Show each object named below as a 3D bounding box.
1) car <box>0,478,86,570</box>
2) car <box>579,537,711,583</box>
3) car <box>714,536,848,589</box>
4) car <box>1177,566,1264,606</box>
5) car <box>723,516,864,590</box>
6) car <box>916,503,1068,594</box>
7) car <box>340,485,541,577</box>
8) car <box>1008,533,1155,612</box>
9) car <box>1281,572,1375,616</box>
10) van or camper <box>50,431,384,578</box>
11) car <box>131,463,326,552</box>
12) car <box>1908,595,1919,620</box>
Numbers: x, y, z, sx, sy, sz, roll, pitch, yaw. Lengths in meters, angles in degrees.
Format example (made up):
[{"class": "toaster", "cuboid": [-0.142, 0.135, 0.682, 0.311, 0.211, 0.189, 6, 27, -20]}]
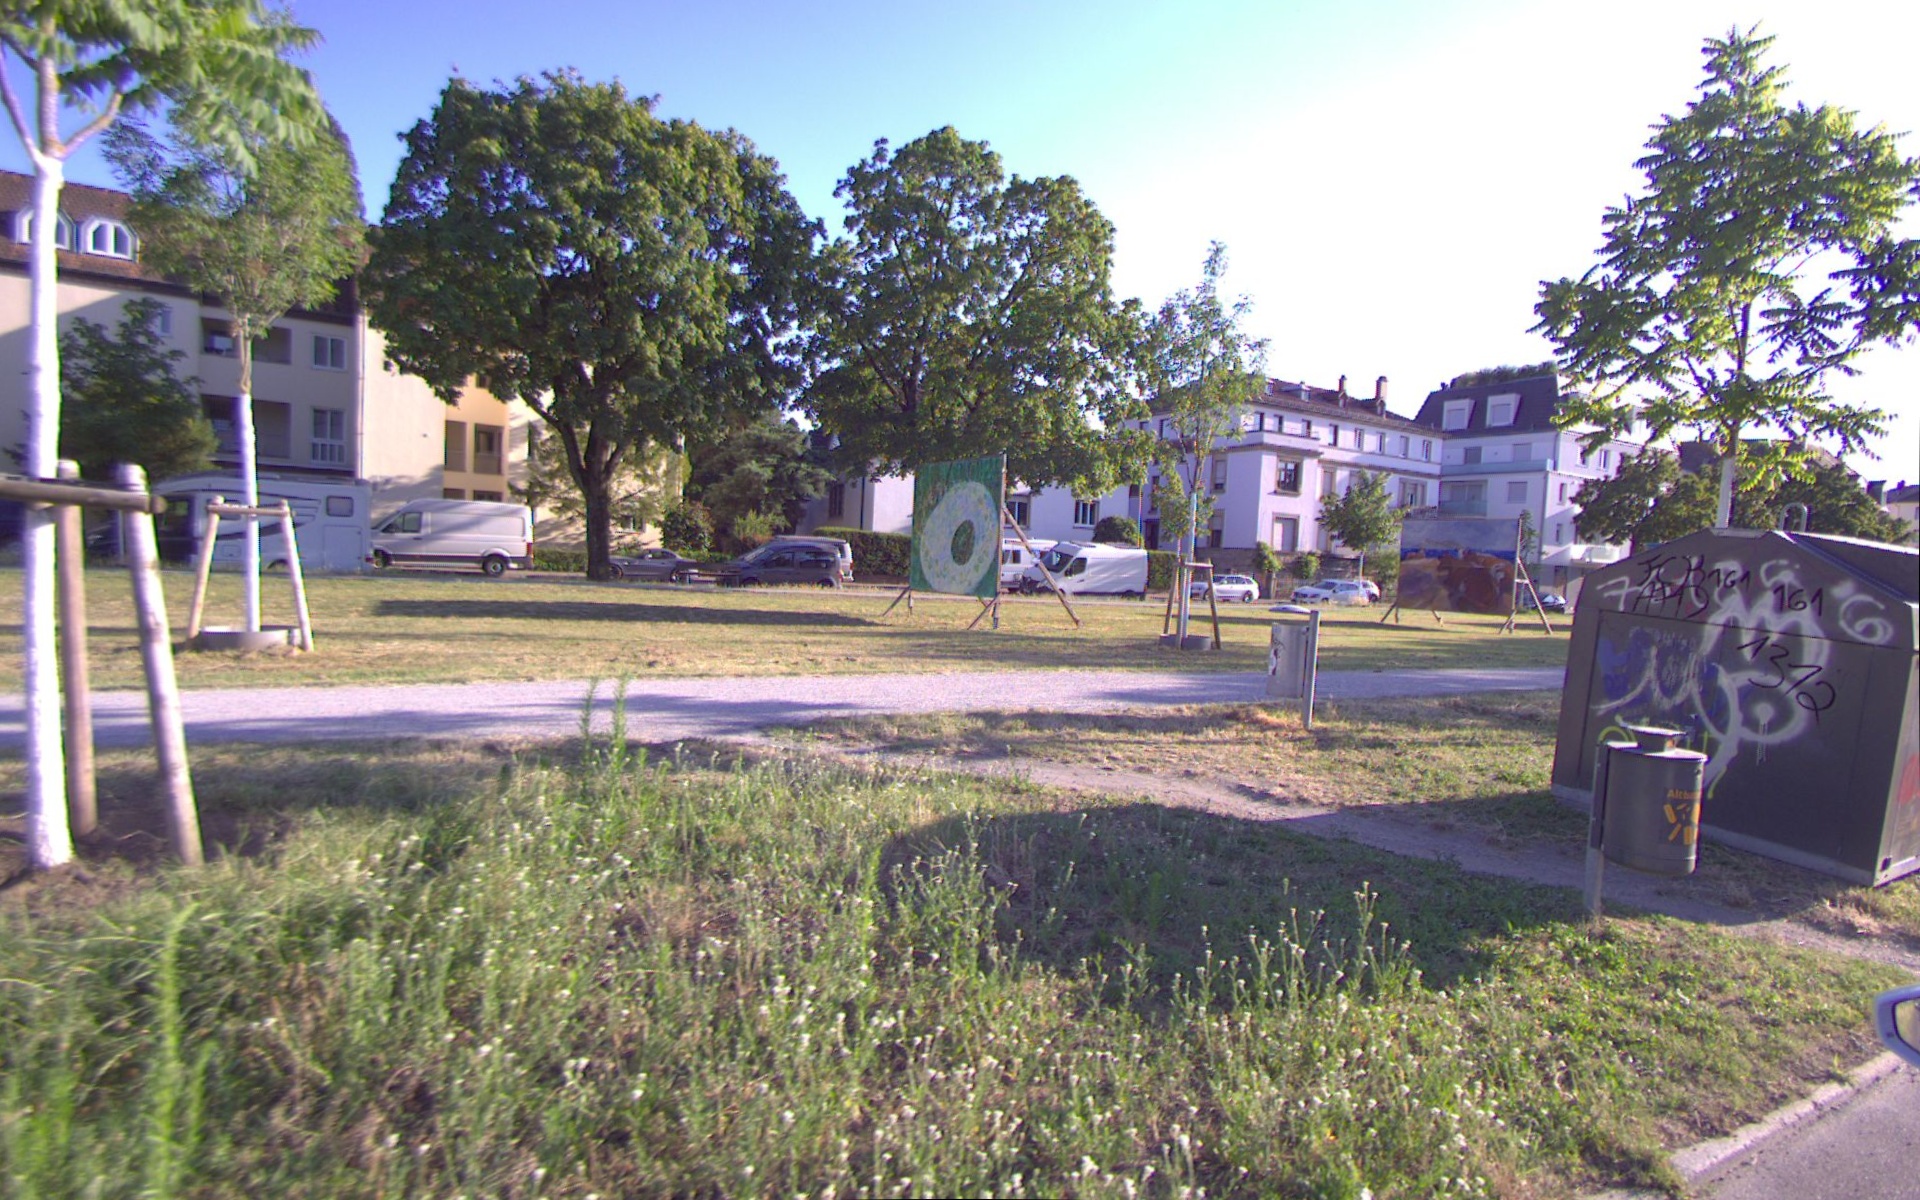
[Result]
[{"class": "car", "cuboid": [-28.338, -2.231, 28.414, 5.056, 2.450, 1.928, 2, -1, -30]}, {"class": "car", "cuboid": [-11.999, -1.491, 38.297, 4.502, 1.421, 1.987, 2, -1, -27]}, {"class": "car", "cuboid": [-6.092, -1.256, 34.285, 4.261, 1.585, 1.406, 1, 3, -32]}, {"class": "car", "cuboid": [13.910, -0.727, 53.587, 4.660, 1.879, 1.721, 2, -1, -31]}, {"class": "car", "cuboid": [-6.783, -1.846, 41.155, 5.267, 2.638, 2.124, 2, -1, -32]}, {"class": "car", "cuboid": [1.529, -2.229, 45.917, 6.686, 3.606, 2.292, 2, -1, -30]}, {"class": "car", "cuboid": [-18.007, -2.298, 35.022, 6.020, 2.632, 1.984, 2, -1, -31]}, {"class": "car", "cuboid": [5.053, -1.033, 41.361, 5.802, 2.863, 2.250, 2, -1, -30]}, {"class": "car", "cuboid": [18.173, -0.263, 49.520, 4.587, 1.924, 1.825, 2, -1, -30]}, {"class": "van or camper", "cuboid": [-19.307, -2.390, 26.740, 6.822, 3.307, 2.629, 1, 3, -30]}, {"class": "car", "cuboid": [-19.307, -2.390, 26.740, 3.952, 2.041, 1.984, 1, 3, -30]}, {"class": "car", "cuboid": [113.375, 1.024, 115.239, 6.203, 2.757, 1.998, 4, 3, 30]}]
